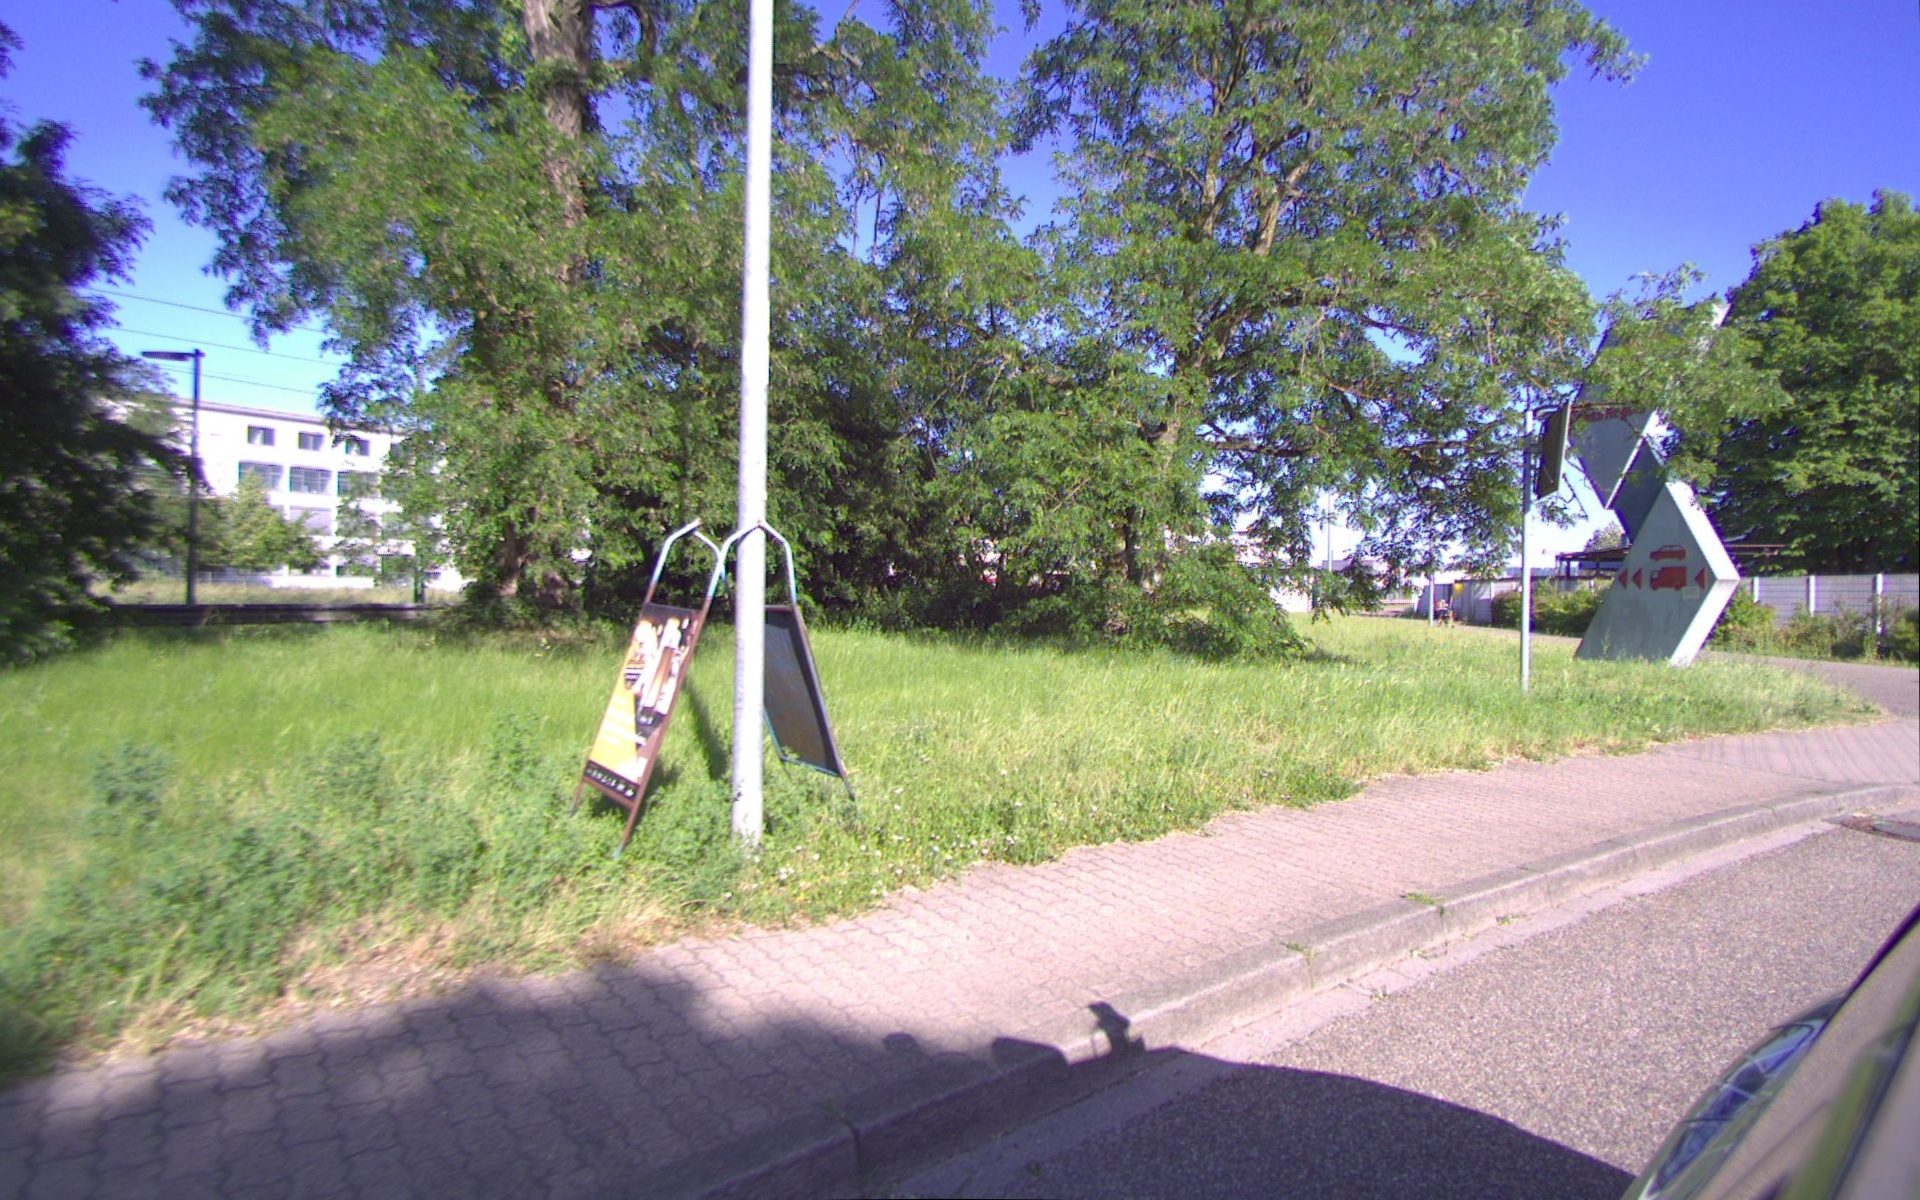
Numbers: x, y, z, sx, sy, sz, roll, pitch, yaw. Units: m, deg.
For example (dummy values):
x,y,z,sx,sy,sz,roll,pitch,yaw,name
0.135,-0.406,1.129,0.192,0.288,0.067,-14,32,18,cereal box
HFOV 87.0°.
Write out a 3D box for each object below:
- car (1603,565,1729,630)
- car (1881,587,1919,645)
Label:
x,y,z,sx,sy,sz,roll,pitch,yaw,name
30.016,-0.164,43.256,1.803,2.573,5.035,1,1,0,car
31.606,0.525,33.174,1.992,1.800,4.300,2,1,42,car
